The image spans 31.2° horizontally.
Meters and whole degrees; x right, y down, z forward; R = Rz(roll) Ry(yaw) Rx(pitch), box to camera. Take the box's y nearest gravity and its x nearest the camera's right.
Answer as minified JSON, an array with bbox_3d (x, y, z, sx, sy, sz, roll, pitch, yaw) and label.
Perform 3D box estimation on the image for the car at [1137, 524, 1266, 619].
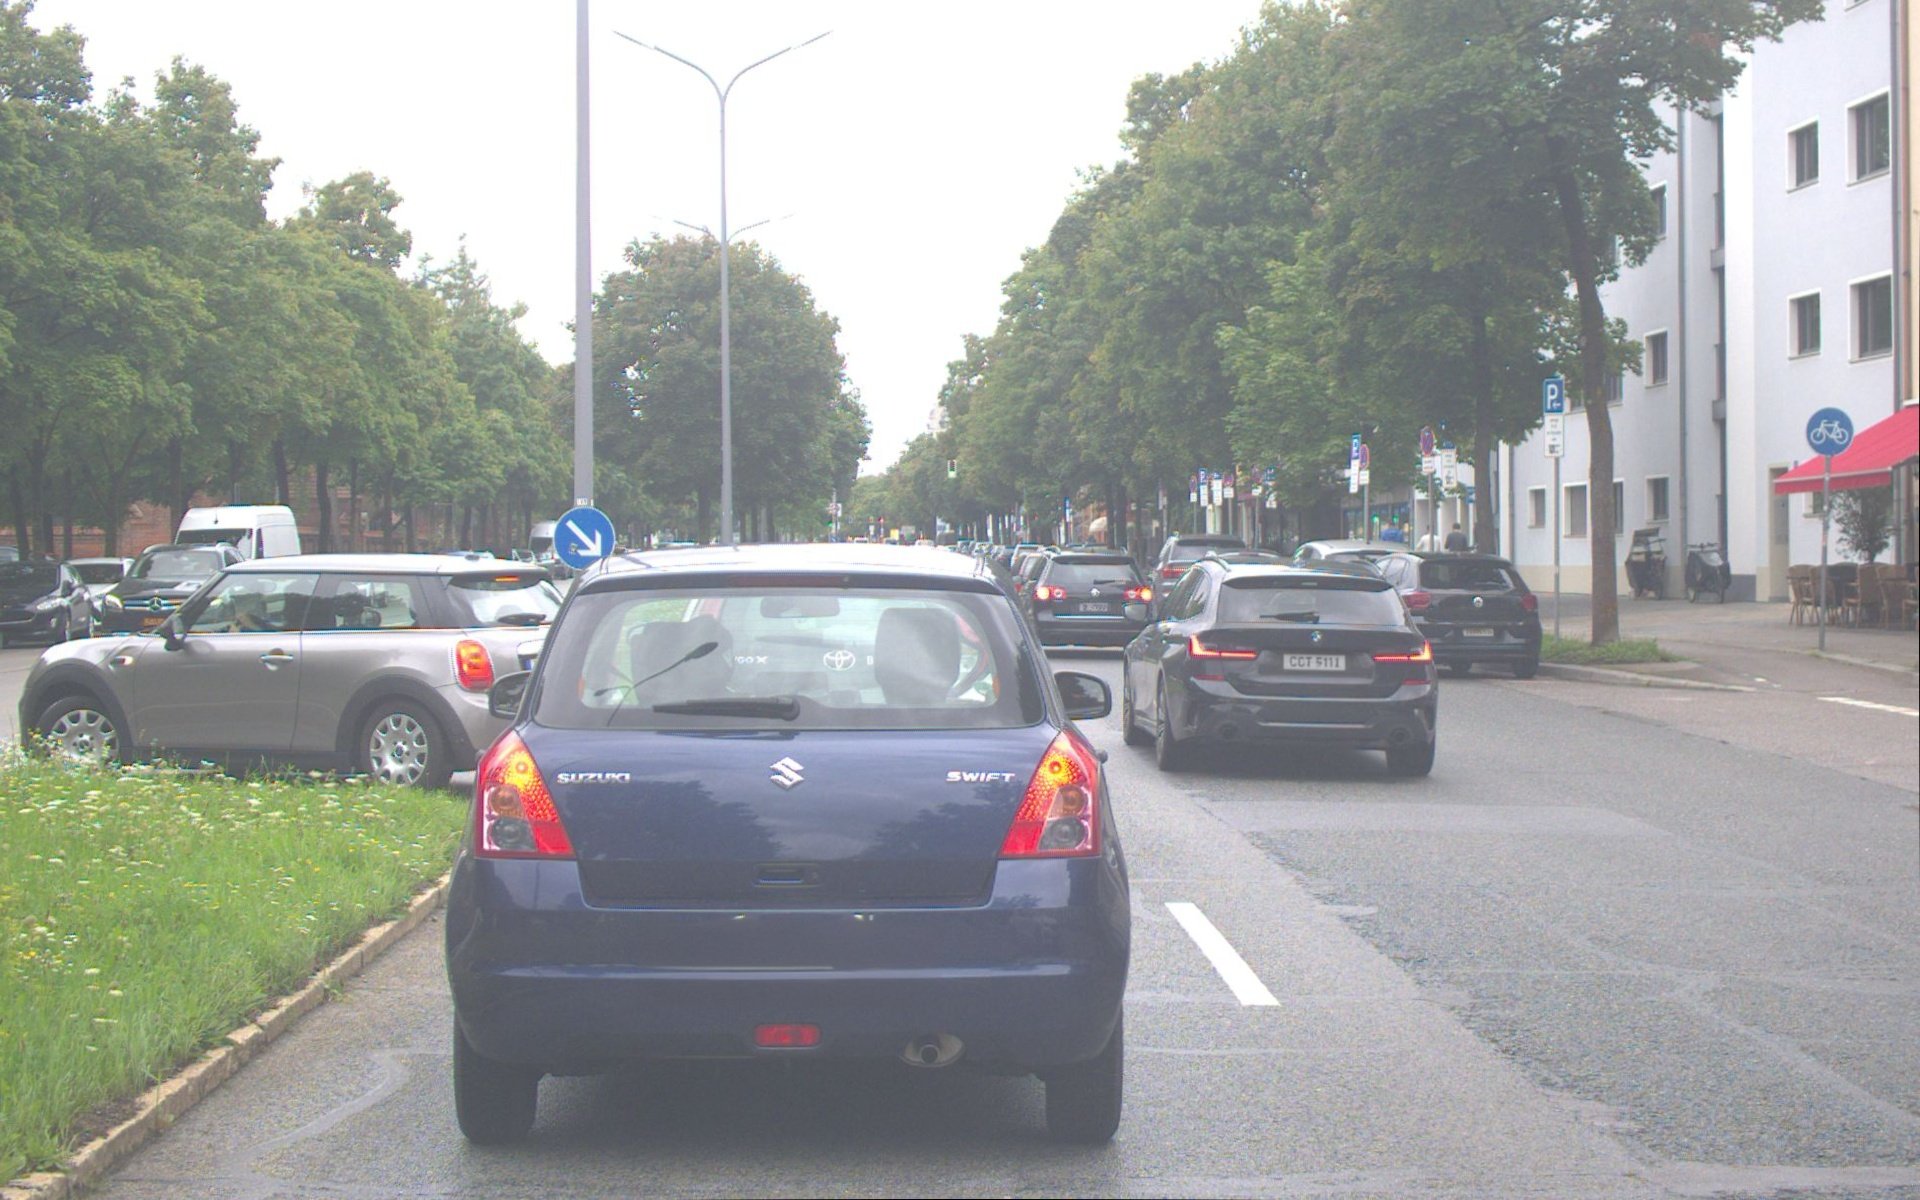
[{"bbox_3d":[4.397,-0.553,63.188,1.865,1.677,4.225,-1,1,-3],"label":"car"}]

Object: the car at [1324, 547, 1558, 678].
[{"bbox_3d":[5.613,0.109,40.613,1.865,1.412,4.225,-1,1,-4],"label":"car"}]

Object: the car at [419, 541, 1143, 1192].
[{"bbox_3d":[-0.489,0.587,9.966,1.682,1.496,3.919,0,1,-2],"label":"car"}]

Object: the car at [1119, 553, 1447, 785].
[{"bbox_3d":[2.157,0.408,24.082,1.758,1.408,4.463,1,1,-1],"label":"car"}]

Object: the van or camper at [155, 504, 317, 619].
[{"bbox_3d":[-16.394,-0.890,78.253,2.117,2.473,7.449,1,1,0],"label":"van or camper"}]

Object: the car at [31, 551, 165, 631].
[{"bbox_3d":[-16.024,-0.190,64.081,1.632,1.426,3.879,1,1,-2],"label":"car"}]

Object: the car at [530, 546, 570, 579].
[{"bbox_3d":[-20.045,-1.856,168.109,1.632,1.577,3.879,1,1,-2],"label":"car"}]

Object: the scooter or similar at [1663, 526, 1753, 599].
[{"bbox_3d":[13.723,-0.706,63.120,1.033,1.303,2.755,0,1,0],"label":"scooter or similar"}]

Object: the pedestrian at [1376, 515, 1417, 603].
[{"bbox_3d":[10.022,-0.957,79.007,0.794,2.007,1.006,0,1,0],"label":"pedestrian"}]

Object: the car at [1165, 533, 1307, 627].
[{"bbox_3d":[4.665,-0.362,58.634,1.865,1.512,4.225,-1,1,-3],"label":"car"}]

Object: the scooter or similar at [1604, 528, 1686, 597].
[{"bbox_3d":[13.307,-0.742,66.885,1.033,1.303,2.755,0,1,0],"label":"scooter or similar"}]

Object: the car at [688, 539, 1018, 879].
[{"bbox_3d":[-0.527,0.450,16.603,1.444,1.478,3.107,0,1,-2],"label":"car"}]

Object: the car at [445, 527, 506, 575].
[{"bbox_3d":[-16.460,-1.672,116.803,1.632,1.577,3.879,1,1,-2],"label":"car"}]

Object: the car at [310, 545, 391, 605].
[{"bbox_3d":[-16.607,-0.688,93.784,1.632,1.577,3.879,1,1,-2],"label":"car"}]

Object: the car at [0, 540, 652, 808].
[{"bbox_3d":[-3.866,0.380,20.609,3.728,1.458,1.685,1,1,29],"label":"car"}]

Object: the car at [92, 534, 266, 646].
[{"bbox_3d":[-12.227,-0.193,54.075,1.766,1.618,4.507,-2,1,-1],"label":"car"}]

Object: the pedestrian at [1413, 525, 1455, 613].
[{"bbox_3d":[10.887,-0.725,78.984,0.794,2.007,1.006,0,1,0],"label":"pedestrian"}]

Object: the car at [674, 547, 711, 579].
[{"bbox_3d":[-13.171,-1.833,169.676,1.632,1.547,3.879,1,1,-2],"label":"car"}]

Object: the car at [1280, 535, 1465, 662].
[{"bbox_3d":[5.394,-0.057,45.384,1.791,1.553,4.225,-1,1,-2],"label":"car"}]

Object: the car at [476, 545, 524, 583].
[{"bbox_3d":[-19.629,-1.550,146.880,1.632,1.577,3.879,1,1,-2],"label":"car"}]

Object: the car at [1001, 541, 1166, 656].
[{"bbox_3d":[1.622,-0.050,46.480,1.731,1.427,4.443,1,1,-4],"label":"car"}]

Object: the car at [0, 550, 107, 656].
[{"bbox_3d":[-15.819,0.026,58.750,1.632,1.735,3.879,1,1,-2],"label":"car"}]

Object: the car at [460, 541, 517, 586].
[{"bbox_3d":[-16.815,-1.299,122.720,1.632,1.577,3.879,1,1,-2],"label":"car"}]

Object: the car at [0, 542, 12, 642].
[{"bbox_3d":[-15.727,-0.114,52.370,1.590,1.553,3.879,1,1,-2],"label":"car"}]

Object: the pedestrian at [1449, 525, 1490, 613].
[{"bbox_3d":[11.789,-0.723,79.579,0.794,2.007,1.006,0,1,0],"label":"pedestrian"}]

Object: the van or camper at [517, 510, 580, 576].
[{"bbox_3d":[-20.906,-2.884,174.945,2.561,3.284,6.938,1,1,-2],"label":"van or camper"}]
